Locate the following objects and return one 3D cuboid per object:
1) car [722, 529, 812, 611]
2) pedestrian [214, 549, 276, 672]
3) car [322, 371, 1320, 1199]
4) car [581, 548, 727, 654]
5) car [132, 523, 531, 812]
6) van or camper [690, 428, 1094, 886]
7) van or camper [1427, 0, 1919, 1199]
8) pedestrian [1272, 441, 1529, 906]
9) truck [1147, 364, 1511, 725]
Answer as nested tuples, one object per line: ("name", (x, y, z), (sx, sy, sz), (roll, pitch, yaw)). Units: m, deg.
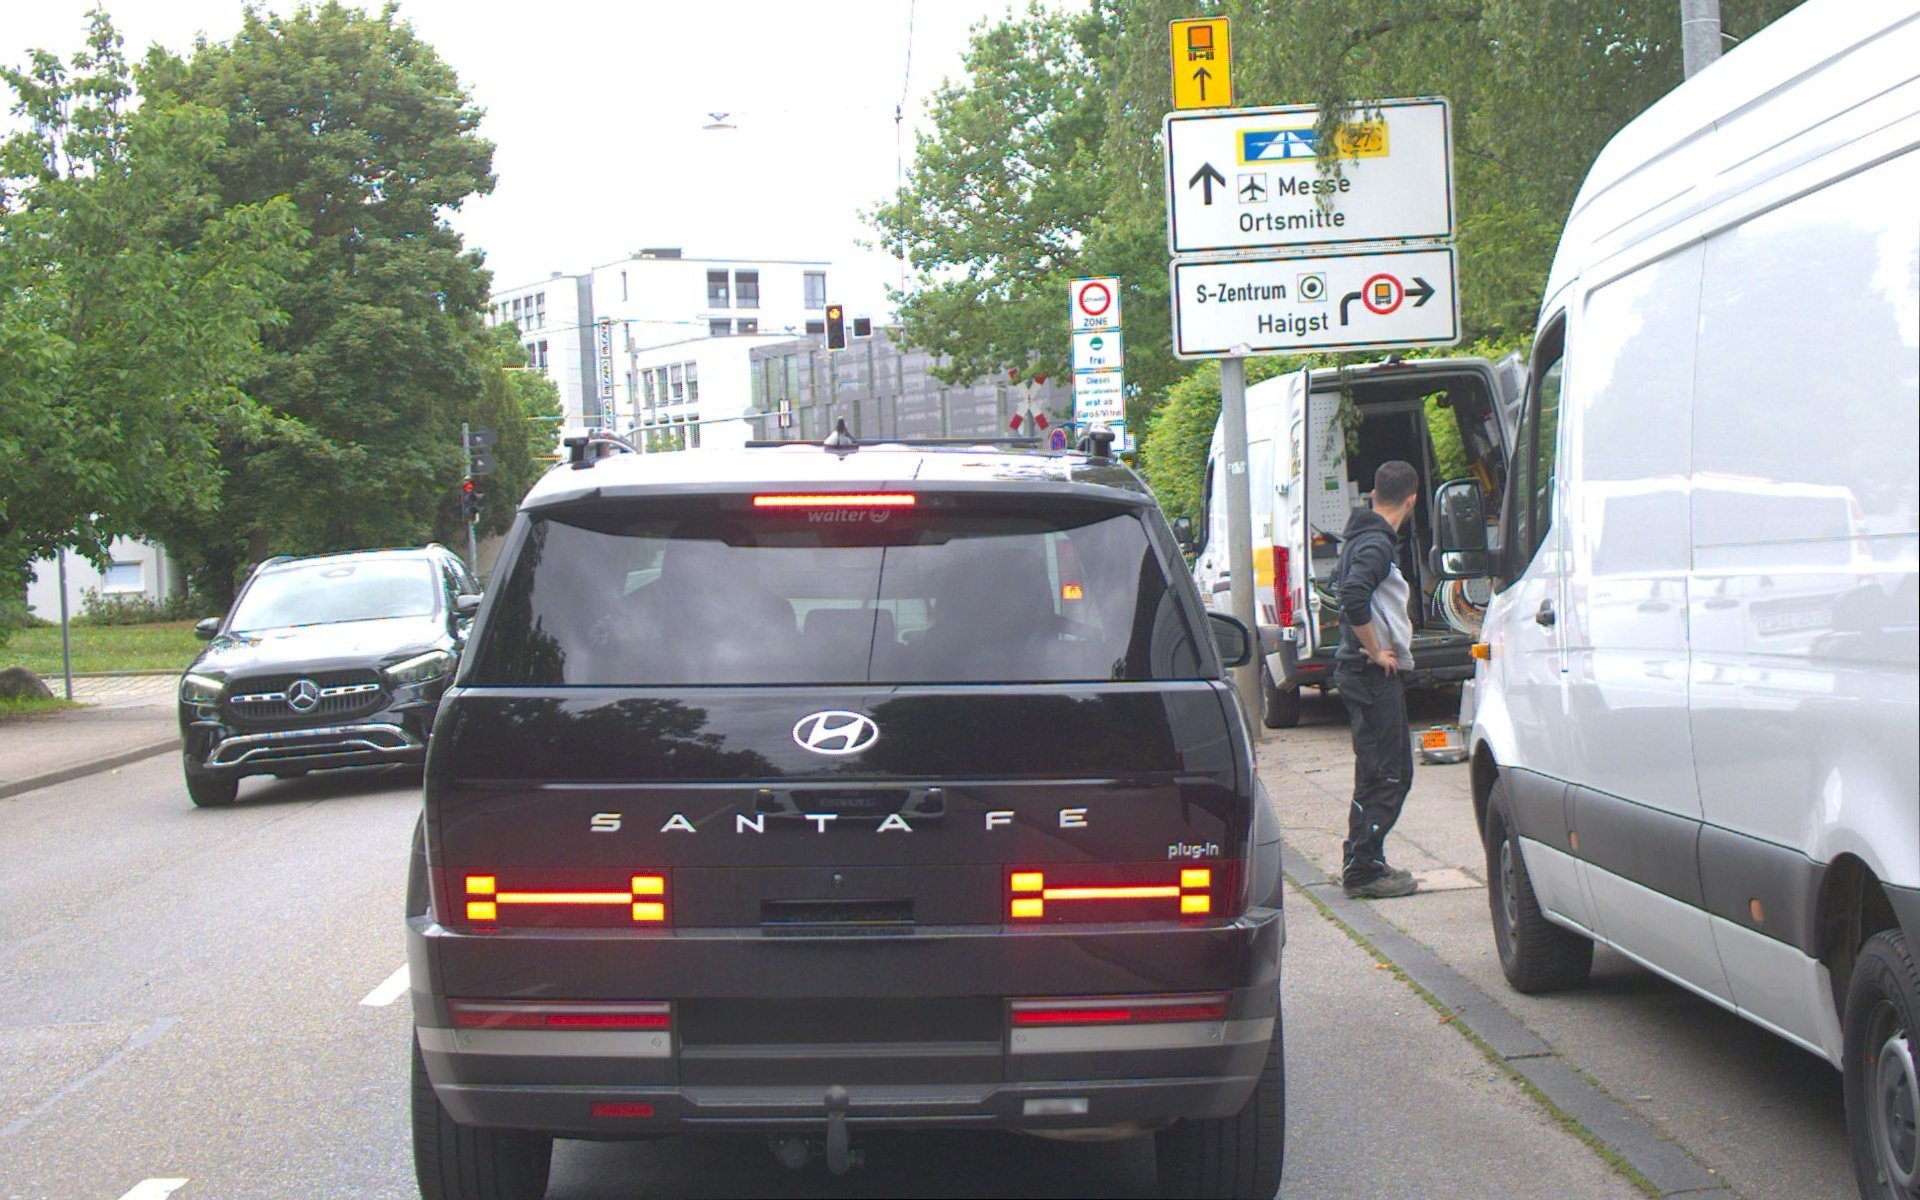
("car", (-4.253, -0.683, 76.274), (1.785, 1.648, 4.121), (-4, 1, -2))
("pedestrian", (-10.118, 0.139, 48.666), (0.738, 1.709, 0.793), (-2, 1, -7))
("car", (-0.285, 0.441, 8.549), (1.889, 1.813, 4.000), (0, 1, -1))
("car", (-4.734, -0.009, 53.723), (1.859, 1.448, 4.111), (-4, 1, -1))
("car", (-4.154, 0.379, 23.411), (1.859, 1.651, 4.306), (-4, 1, -1))
("van or camper", (-0.328, 0.224, 17.492), (1.754, 2.007, 4.000), (-2, 1, -1))
("van or camper", (2.623, -0.084, 8.136), (1.993, 2.611, 6.541), (-2, 1, -1))
("pedestrian", (1.761, 0.282, 13.843), (0.870, 1.791, 0.760), (-2, 1, -1))
("truck", (2.877, -0.435, 28.044), (1.942, 2.553, 5.217), (-4, 1, -4))
